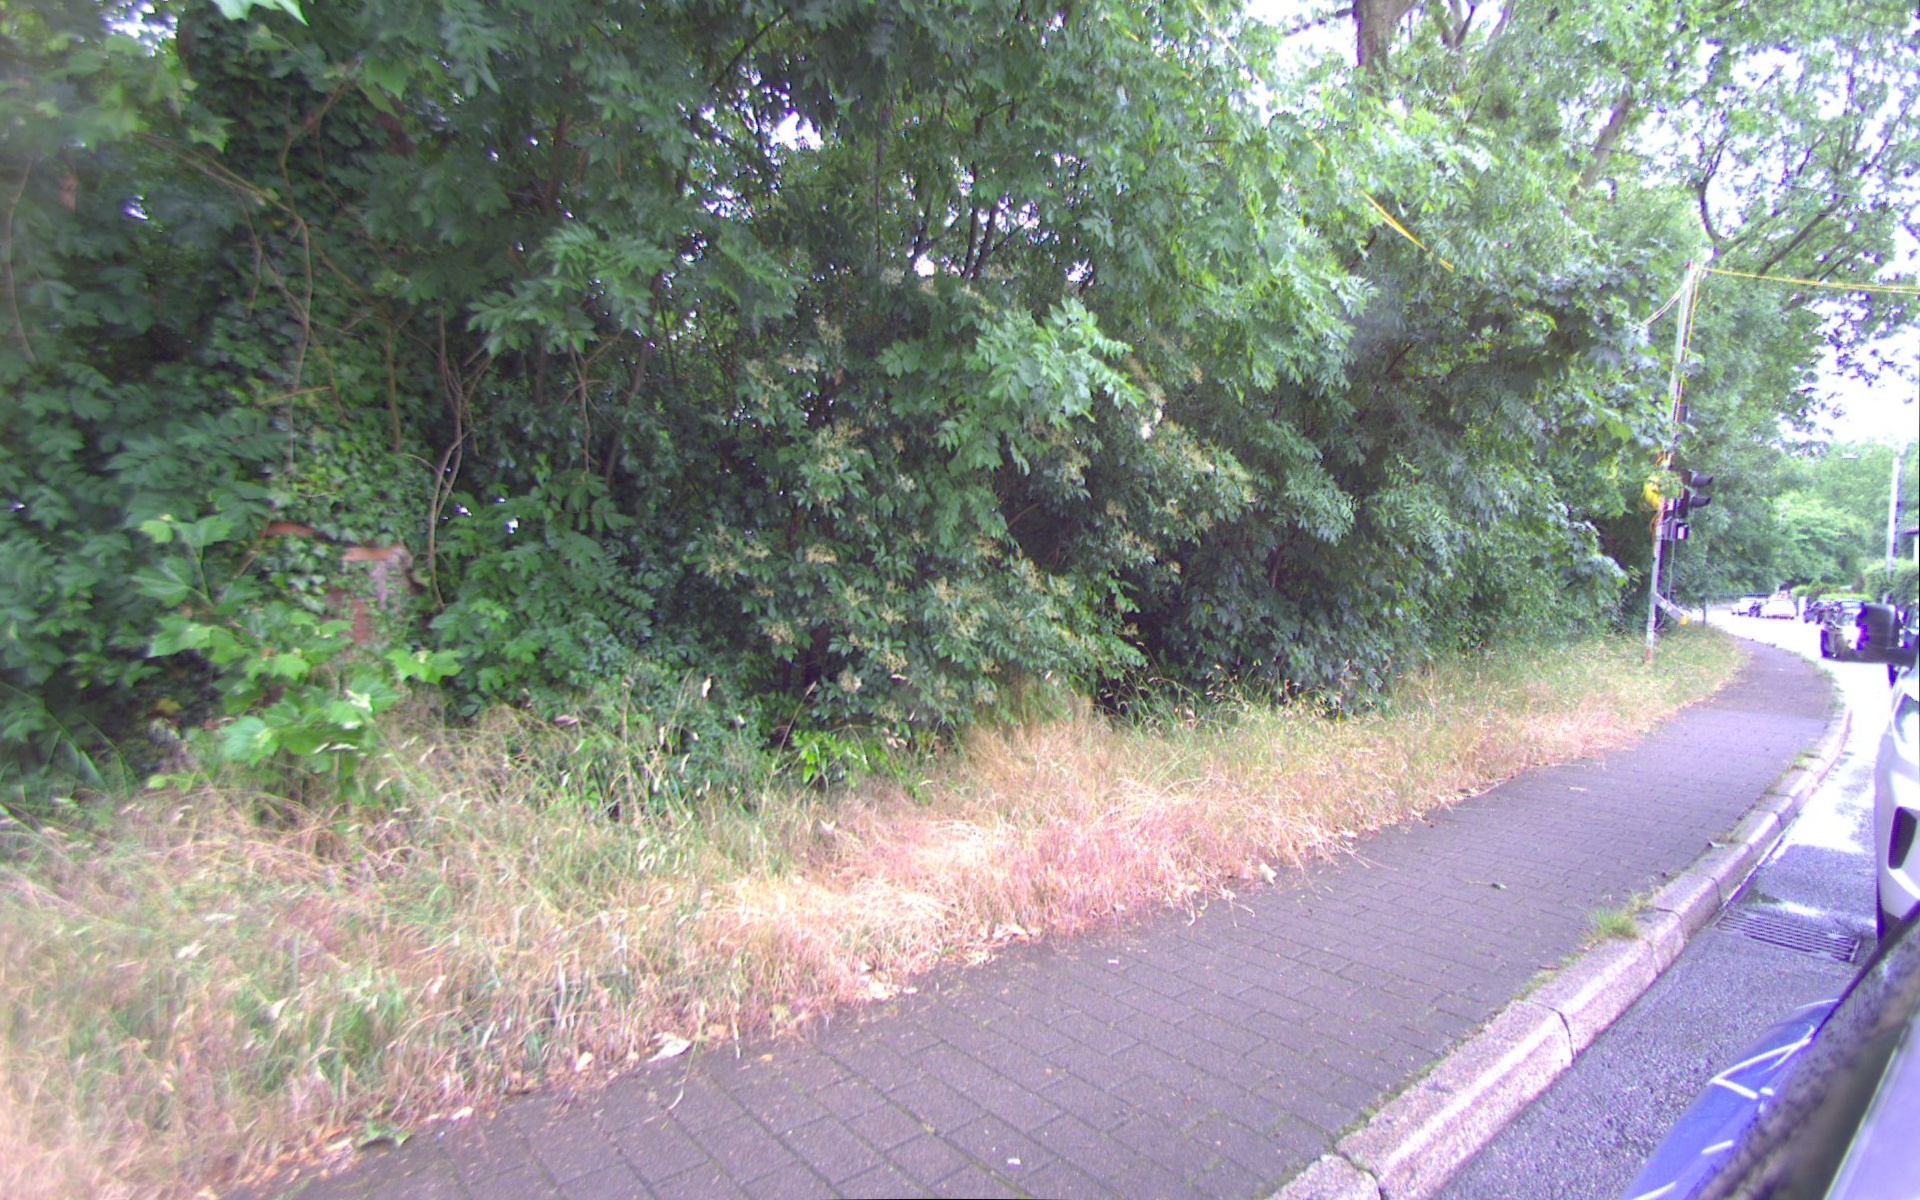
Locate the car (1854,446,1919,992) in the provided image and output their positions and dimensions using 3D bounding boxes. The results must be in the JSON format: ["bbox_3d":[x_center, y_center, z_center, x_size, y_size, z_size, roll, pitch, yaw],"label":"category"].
[{"bbox_3d":[5.850,0.396,4.583,5.118,1.917,2.044,-1,0,-41],"label":"car"}]

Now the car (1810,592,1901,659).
[{"bbox_3d":[23.463,0.678,26.610,1.663,1.610,3.946,0,-2,40],"label":"car"}]

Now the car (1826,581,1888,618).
[{"bbox_3d":[51.164,-0.062,57.811,1.984,2.039,3.955,0,0,32],"label":"car"}]

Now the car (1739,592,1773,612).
[{"bbox_3d":[64.846,0.134,82.466,1.752,1.547,3.550,0,0,32],"label":"car"}]

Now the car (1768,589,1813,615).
[{"bbox_3d":[60.593,0.118,73.916,1.984,1.884,4.311,0,0,32],"label":"car"}]
